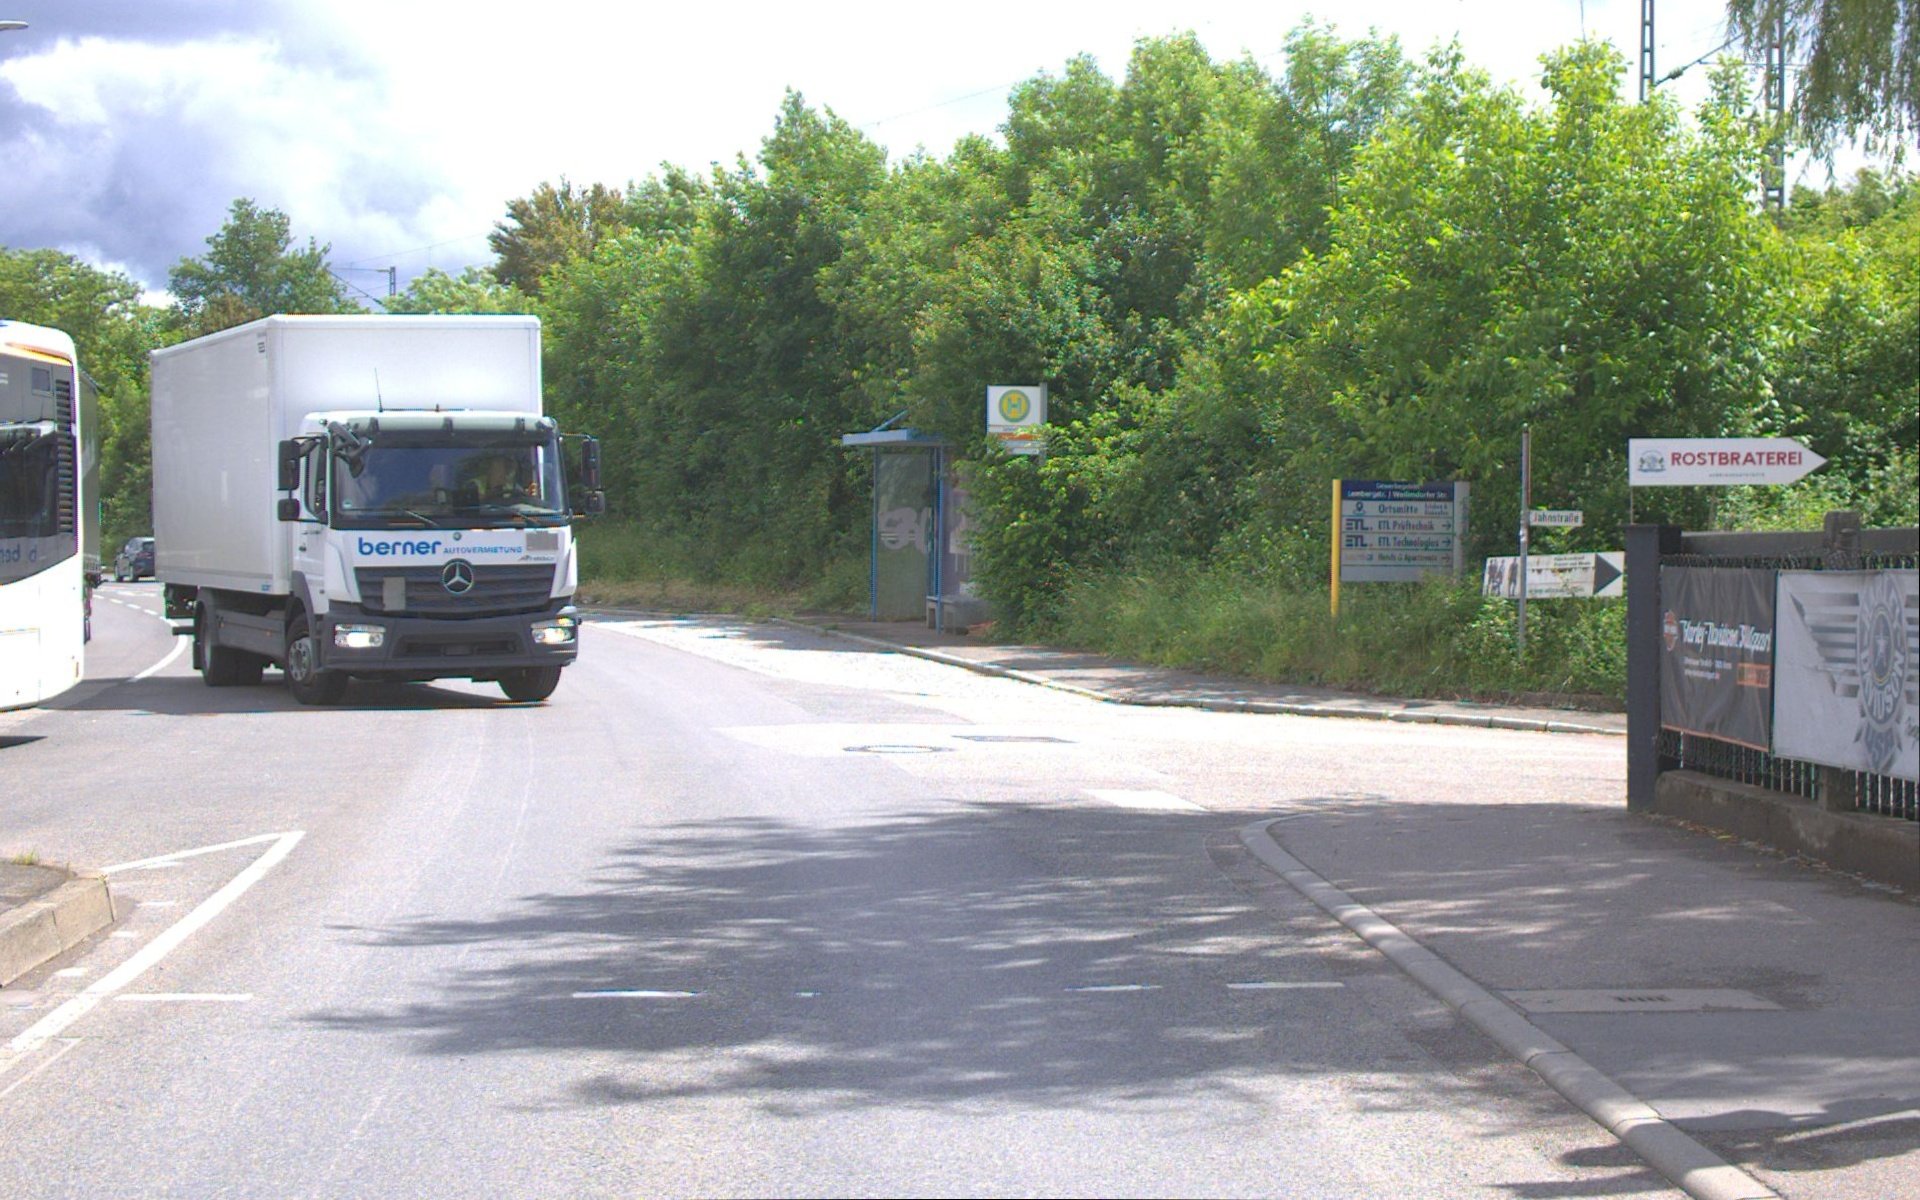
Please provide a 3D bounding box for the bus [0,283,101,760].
[{"bbox_3d":[-7.936,-0.504,20.055,2.777,3.255,12.123,-1,0,0],"label":"bus"}]

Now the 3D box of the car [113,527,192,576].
[{"bbox_3d":[-25.762,-1.559,109.653,1.884,1.503,4.001,0,1,-21],"label":"car"}]

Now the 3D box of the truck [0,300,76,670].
[{"bbox_3d":[-12.198,-1.332,40.228,2.428,4.117,9.152,2,0,-8],"label":"truck"}]

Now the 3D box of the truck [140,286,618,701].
[{"bbox_3d":[-6.076,-1.002,34.285,2.839,3.528,9.727,0,1,-21],"label":"truck"}]
